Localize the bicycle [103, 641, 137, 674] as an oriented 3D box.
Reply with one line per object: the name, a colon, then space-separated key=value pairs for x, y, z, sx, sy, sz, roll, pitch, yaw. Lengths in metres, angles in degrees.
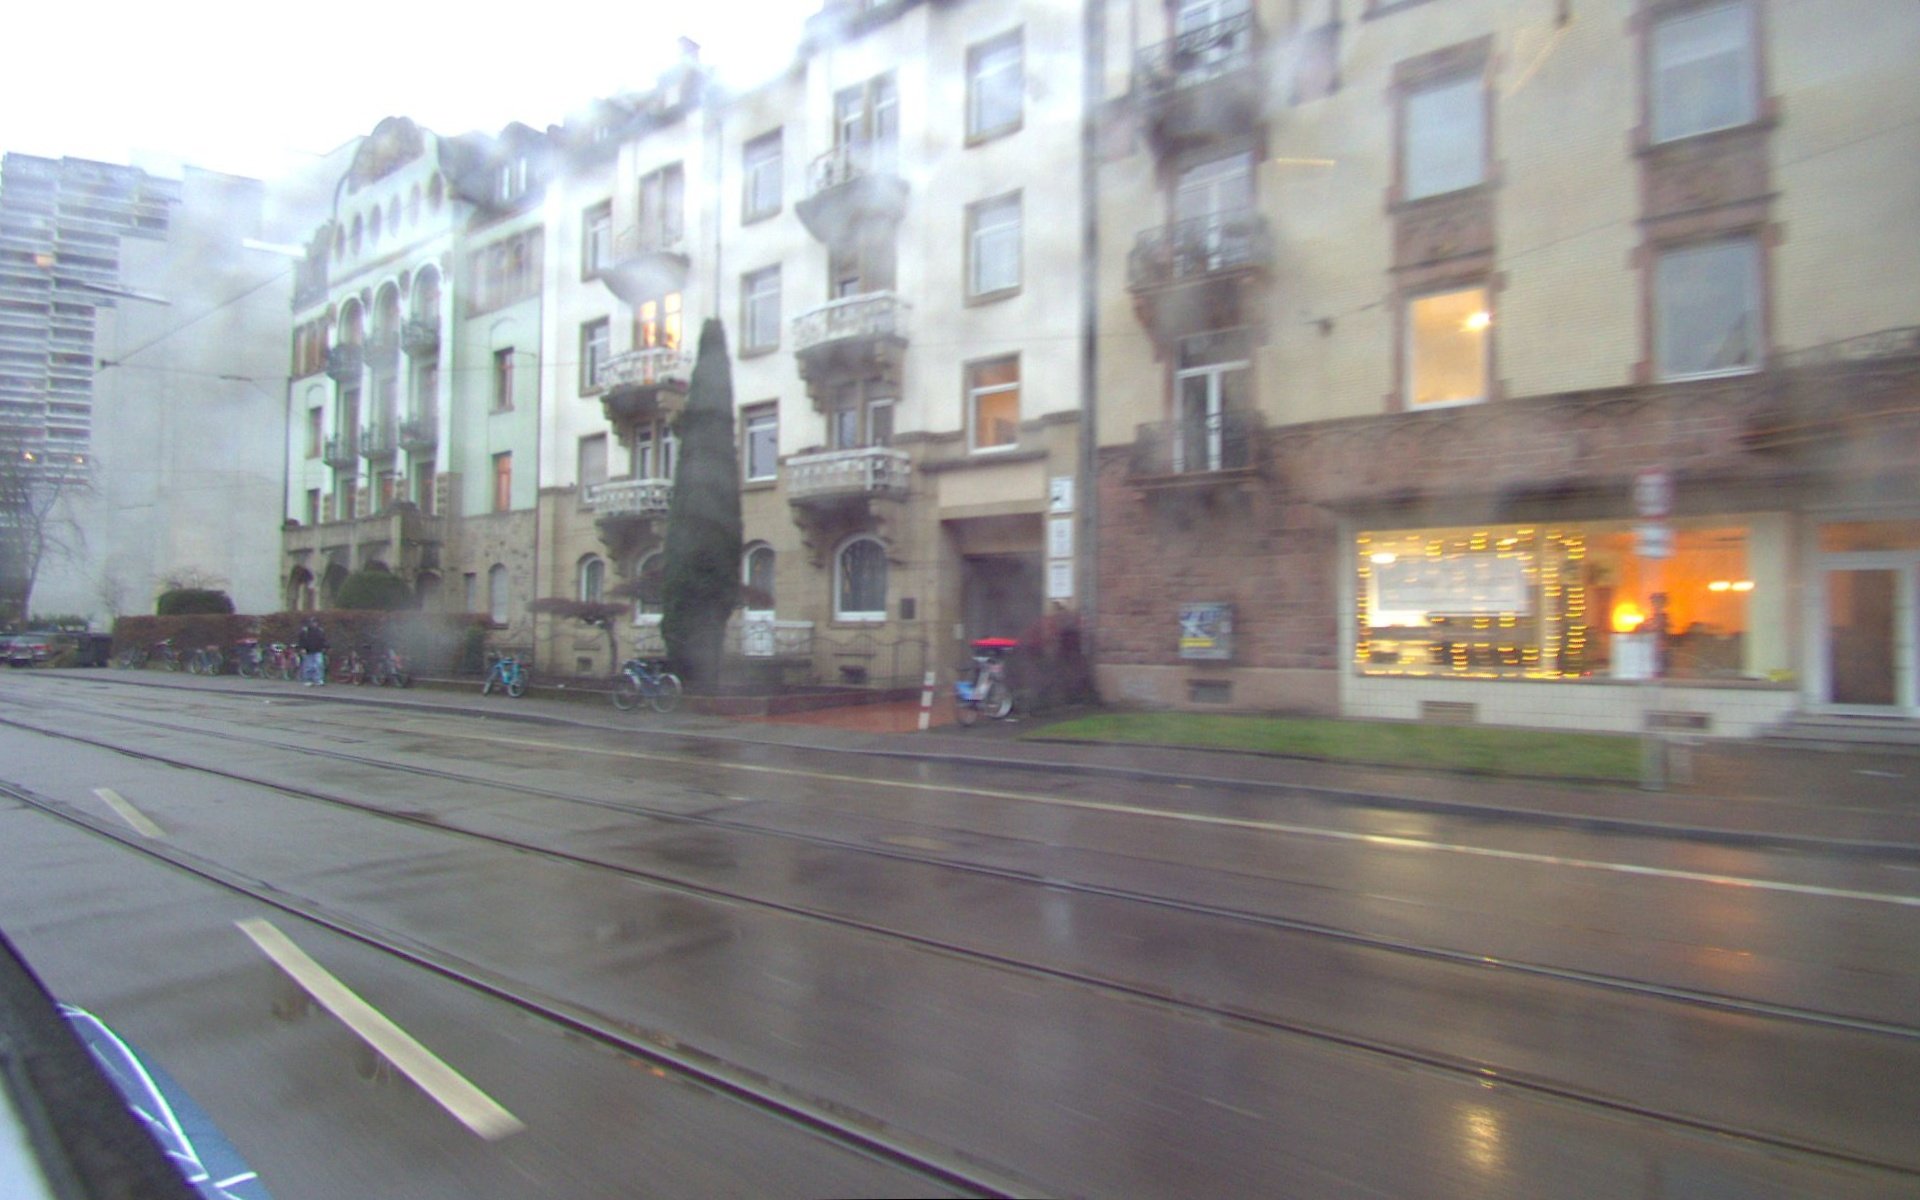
bicycle: x=-30.332 y=2.067 z=36.548 sx=1.660 sy=1.173 sz=0.617 roll=-2 pitch=-2 yaw=39

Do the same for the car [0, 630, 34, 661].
car: x=-51.258 y=2.381 z=53.005 sx=1.842 sy=1.608 sz=4.000 roll=0 pitch=-2 yaw=-1

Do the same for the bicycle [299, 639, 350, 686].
bicycle: x=-17.034 y=1.653 z=27.105 sx=1.660 sy=1.221 sz=0.617 roll=-2 pitch=-3 yaw=39

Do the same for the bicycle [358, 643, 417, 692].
bicycle: x=-14.076 y=1.640 z=24.862 sx=1.781 sy=1.135 sz=0.617 roll=-2 pitch=-3 yaw=39

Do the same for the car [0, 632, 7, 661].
car: x=-53.696 y=2.490 z=54.061 sx=1.842 sy=1.608 sz=4.000 roll=0 pitch=-2 yaw=-1

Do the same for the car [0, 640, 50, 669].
car: x=-42.581 y=2.408 z=44.583 sx=1.687 sy=1.262 sz=3.667 roll=1 pitch=-3 yaw=-2

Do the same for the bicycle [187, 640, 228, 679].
bicycle: x=-23.890 y=1.869 z=32.132 sx=1.660 sy=1.221 sz=0.617 roll=-2 pitch=-3 yaw=39

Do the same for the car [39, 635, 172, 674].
car: x=-35.034 y=2.207 z=41.643 sx=1.847 sy=1.505 sz=3.990 roll=0 pitch=-2 yaw=7

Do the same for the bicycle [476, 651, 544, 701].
bicycle: x=-9.571 y=1.598 z=21.506 sx=1.660 sy=1.011 sz=0.617 roll=-2 pitch=-3 yaw=39

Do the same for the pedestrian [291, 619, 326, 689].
pedestrian: x=-16.470 y=1.348 z=25.577 sx=0.644 sy=1.738 sz=0.567 roll=0 pitch=-1 yaw=40

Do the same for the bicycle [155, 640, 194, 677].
bicycle: x=-26.172 y=1.937 z=33.702 sx=1.660 sy=1.221 sz=0.617 roll=-2 pitch=-3 yaw=39

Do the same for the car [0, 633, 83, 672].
car: x=-40.545 y=2.231 z=43.729 sx=1.842 sy=1.608 sz=4.000 roll=0 pitch=-2 yaw=-1

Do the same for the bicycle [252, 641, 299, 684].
bicycle: x=-19.365 y=1.762 z=28.613 sx=1.660 sy=1.173 sz=0.617 roll=-2 pitch=-3 yaw=39

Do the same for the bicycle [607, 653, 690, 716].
bicycle: x=-5.746 y=1.530 z=18.620 sx=1.660 sy=1.101 sz=0.617 roll=-2 pitch=-3 yaw=39

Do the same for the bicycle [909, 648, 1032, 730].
bicycle: x=0.212 y=1.378 z=16.223 sx=0.694 sy=1.114 sz=2.327 roll=-1 pitch=-1 yaw=37

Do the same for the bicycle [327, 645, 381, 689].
bicycle: x=-15.590 y=1.708 z=26.012 sx=1.724 sy=1.074 sz=0.617 roll=-2 pitch=-3 yaw=39

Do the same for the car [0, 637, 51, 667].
car: x=-48.097 y=2.577 z=50.556 sx=1.842 sy=1.460 sz=4.000 roll=0 pitch=-2 yaw=-1

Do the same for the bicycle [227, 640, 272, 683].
bicycle: x=-21.011 y=1.808 z=29.905 sx=1.660 sy=1.221 sz=0.617 roll=-2 pitch=-3 yaw=39

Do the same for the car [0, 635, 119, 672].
car: x=-37.646 y=2.200 z=42.268 sx=1.739 sy=1.497 sz=4.000 roll=0 pitch=-2 yaw=-1

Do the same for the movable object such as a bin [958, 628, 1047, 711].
movable object such as a bin: x=0.770 y=1.231 z=18.313 sx=1.166 sy=1.390 sz=1.092 roll=-1 pitch=0 yaw=38

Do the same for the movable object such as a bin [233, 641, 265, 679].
movable object such as a bin: x=-22.392 y=1.886 z=31.868 sx=0.674 sy=1.173 sz=0.651 roll=-2 pitch=-3 yaw=39
